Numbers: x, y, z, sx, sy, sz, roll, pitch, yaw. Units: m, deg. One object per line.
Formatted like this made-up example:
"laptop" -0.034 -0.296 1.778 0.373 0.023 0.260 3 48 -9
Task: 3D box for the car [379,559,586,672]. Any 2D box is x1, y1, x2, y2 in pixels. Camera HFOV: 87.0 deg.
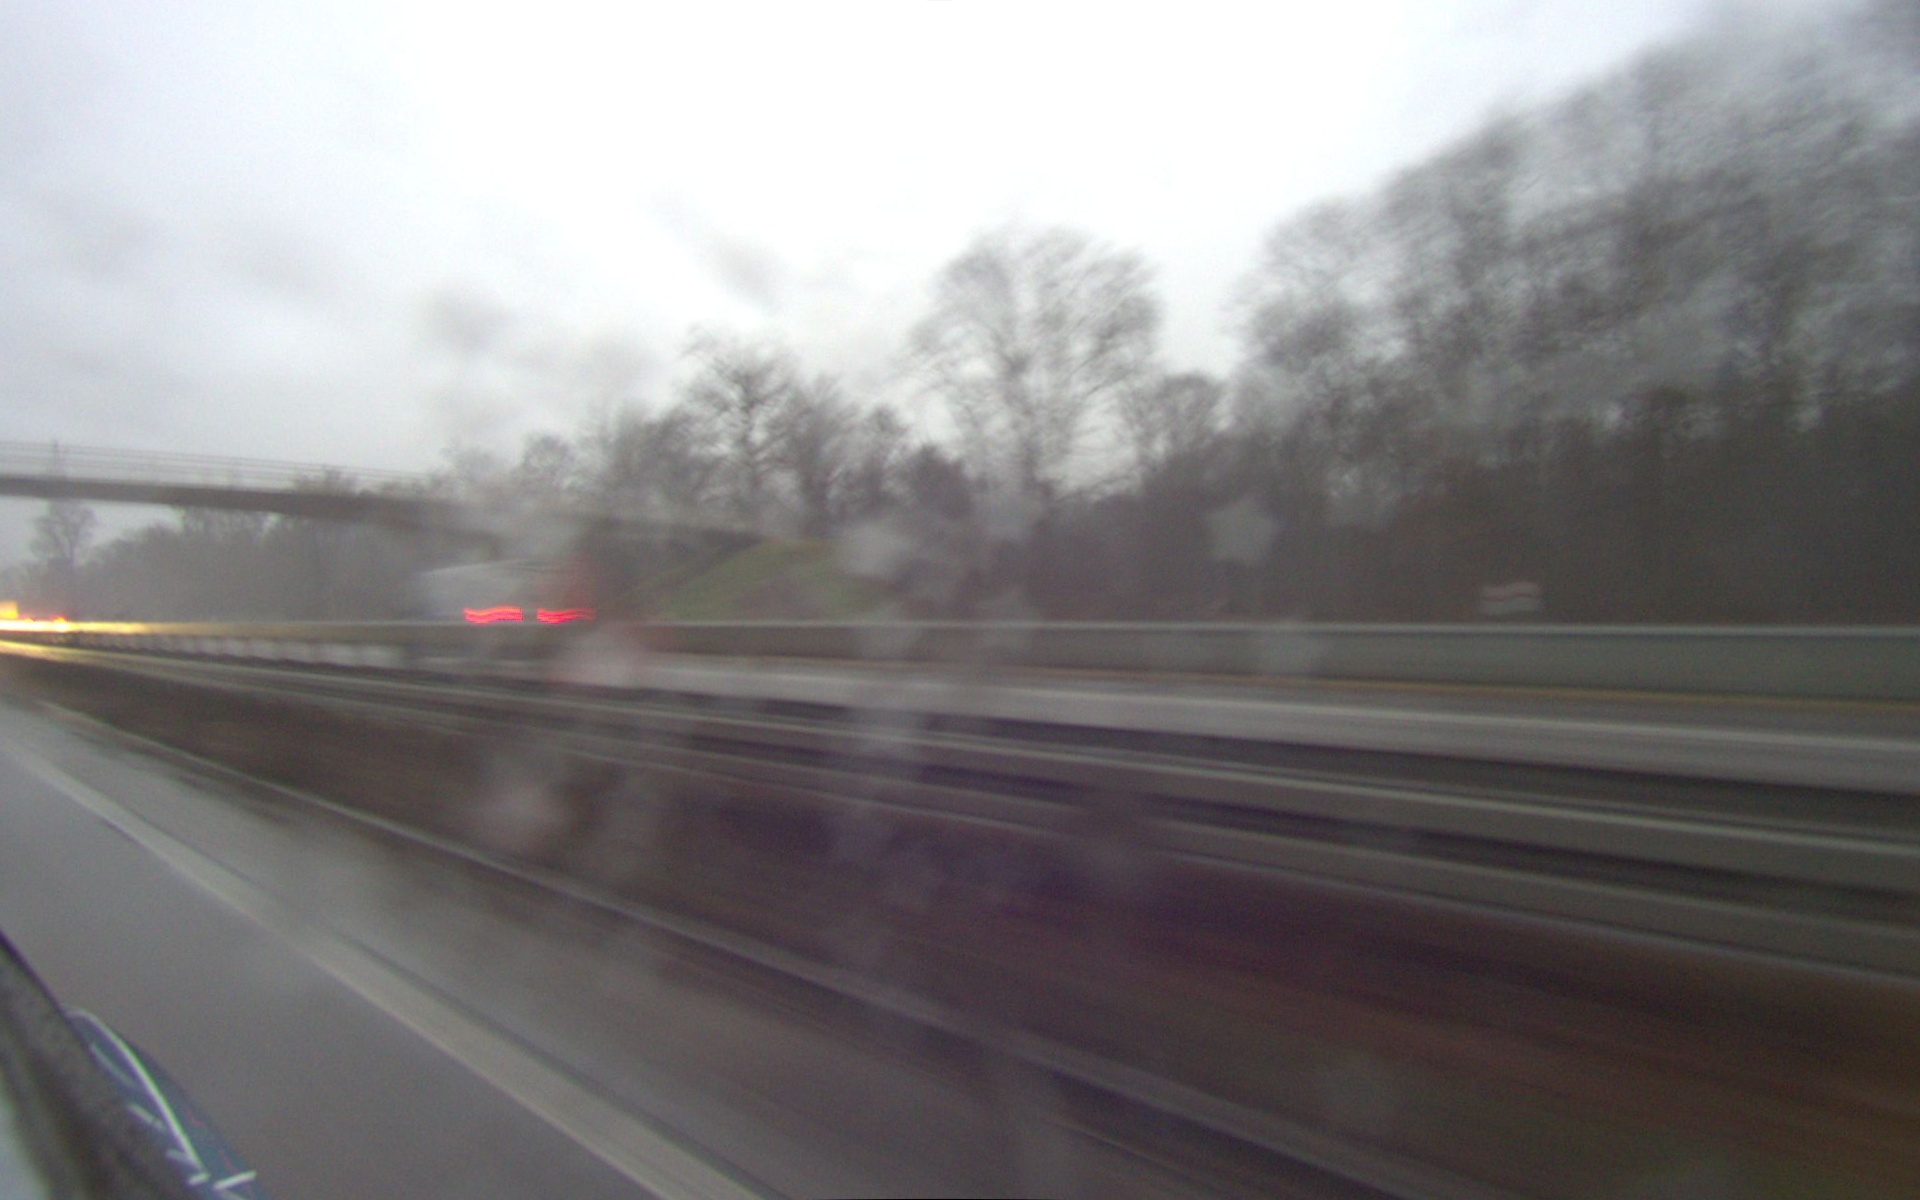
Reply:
"car" -12.252 0.381 25.741 6.265 2.542 2.450 -1 0 41

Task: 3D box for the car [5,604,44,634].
"car" -78.381 1.607 84.759 4.677 2.430 1.972 -1 0 42

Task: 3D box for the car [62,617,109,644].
"car" -54.767 1.903 63.348 3.999 1.619 1.761 -1 0 42

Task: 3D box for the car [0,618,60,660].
"car" -43.763 1.790 47.271 5.258 1.781 1.885 -1 1 41
